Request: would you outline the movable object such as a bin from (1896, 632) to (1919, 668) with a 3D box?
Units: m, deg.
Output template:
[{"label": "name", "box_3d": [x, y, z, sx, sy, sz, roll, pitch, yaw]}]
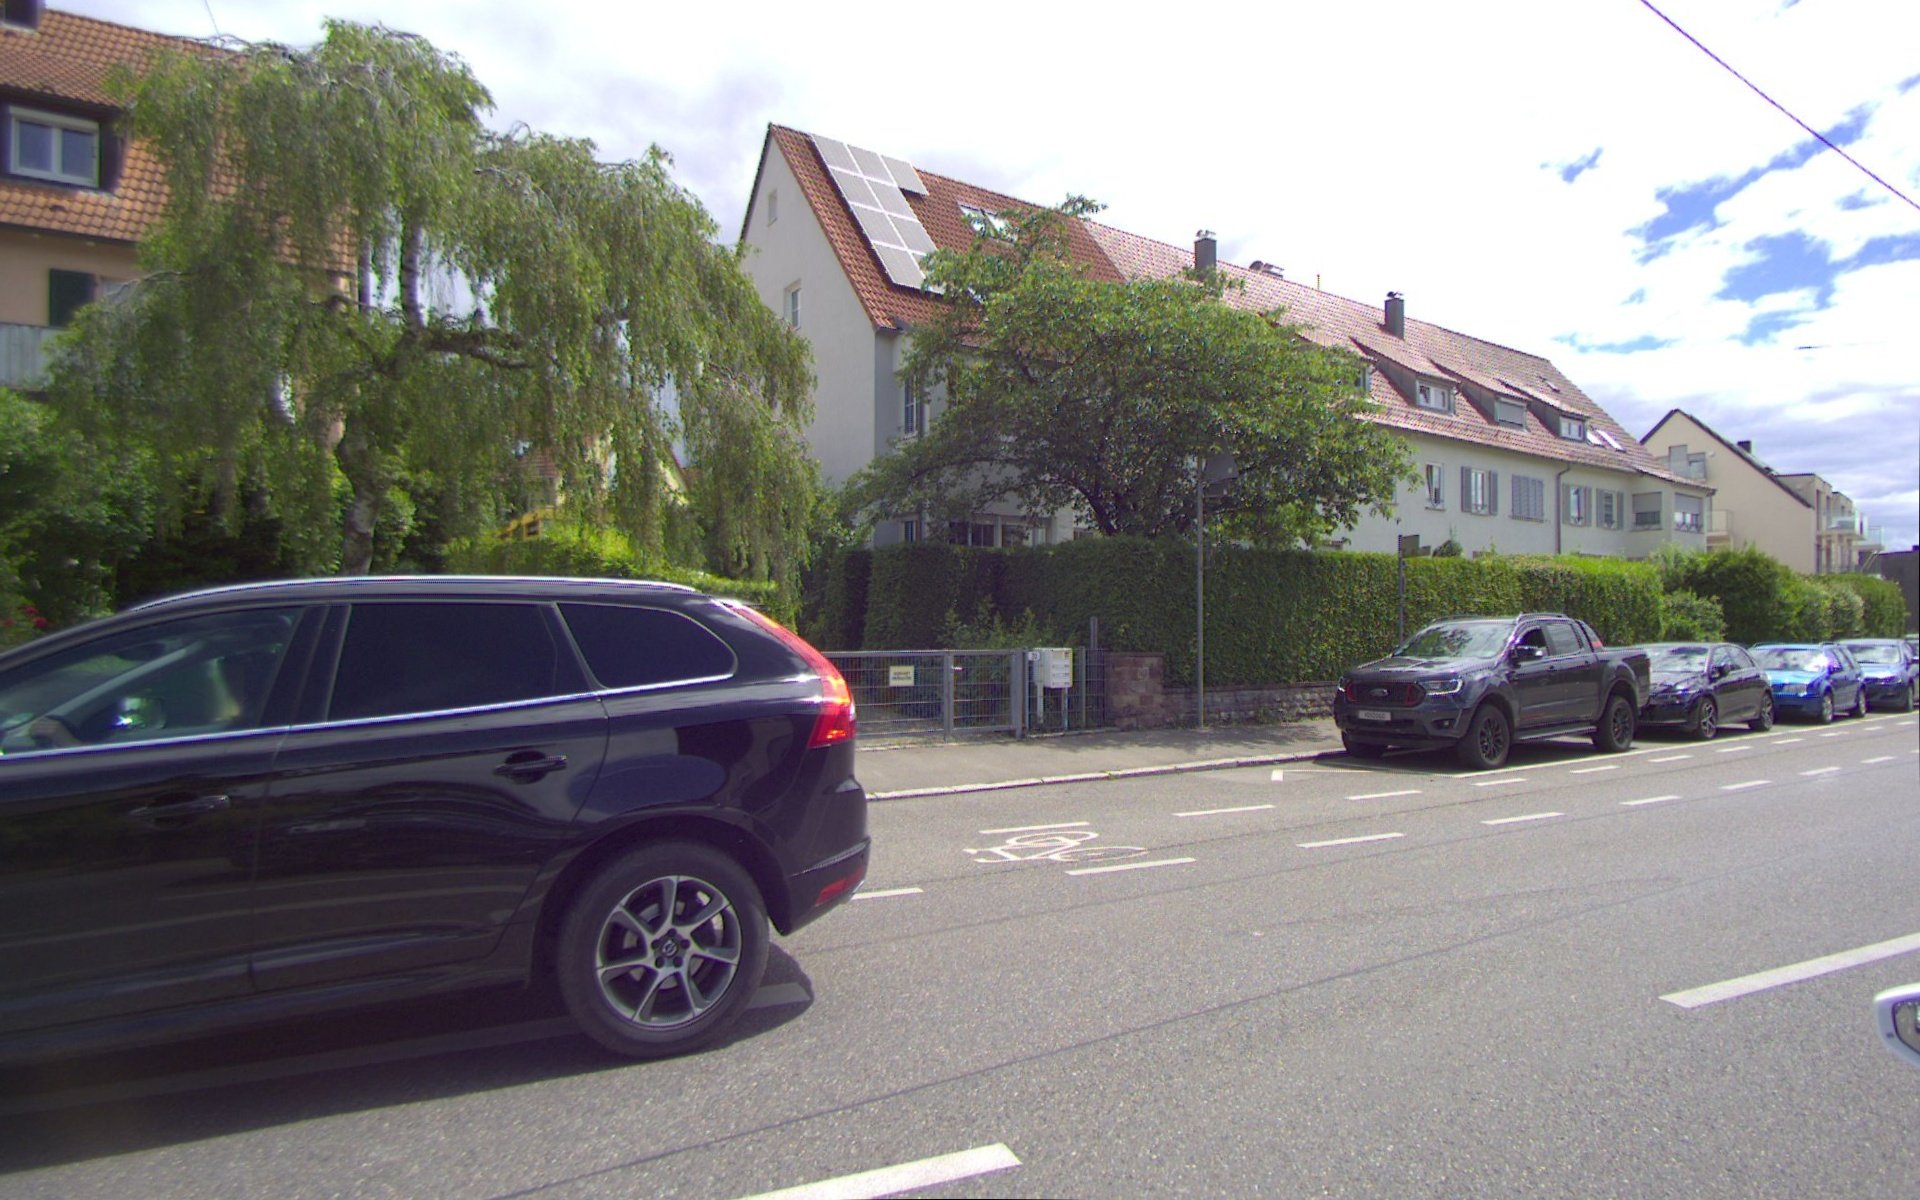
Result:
[{"label": "movable object such as a bin", "box_3d": [40.589, 2.101, 42.672, 1.204, 1.501, 1.057, 1, -1, -39]}]

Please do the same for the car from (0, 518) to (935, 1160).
[{"label": "car", "box_3d": [-2.413, 0.707, 3.763, 4.238, 1.669, 1.910, 1, -5, -27]}]

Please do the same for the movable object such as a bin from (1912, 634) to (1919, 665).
[{"label": "movable object such as a bin", "box_3d": [41.775, 2.129, 43.143, 1.202, 1.330, 1.058, 1, -1, -35]}]

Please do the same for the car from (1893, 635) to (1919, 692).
[{"label": "car", "box_3d": [28.842, 1.813, 28.913, 4.643, 1.584, 1.981, 2, -2, -35]}]

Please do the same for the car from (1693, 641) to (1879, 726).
[{"label": "car", "box_3d": [15.904, 1.516, 19.271, 4.398, 1.436, 1.765, 2, -2, -37]}]

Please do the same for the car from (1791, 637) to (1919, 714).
[{"label": "car", "box_3d": [19.977, 1.585, 22.134, 4.528, 1.511, 1.763, 2, -2, -40]}]

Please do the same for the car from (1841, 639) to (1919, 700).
[{"label": "car", "box_3d": [24.374, 1.721, 25.520, 4.643, 1.427, 1.981, 2, -2, -35]}]

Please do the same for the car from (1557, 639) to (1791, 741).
[{"label": "car", "box_3d": [11.607, 1.358, 16.257, 4.296, 1.436, 1.766, 2, -2, -35]}]

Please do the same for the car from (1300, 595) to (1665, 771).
[{"label": "car", "box_3d": [7.037, 1.011, 13.309, 5.348, 1.919, 1.982, 2, -4, -34]}]
